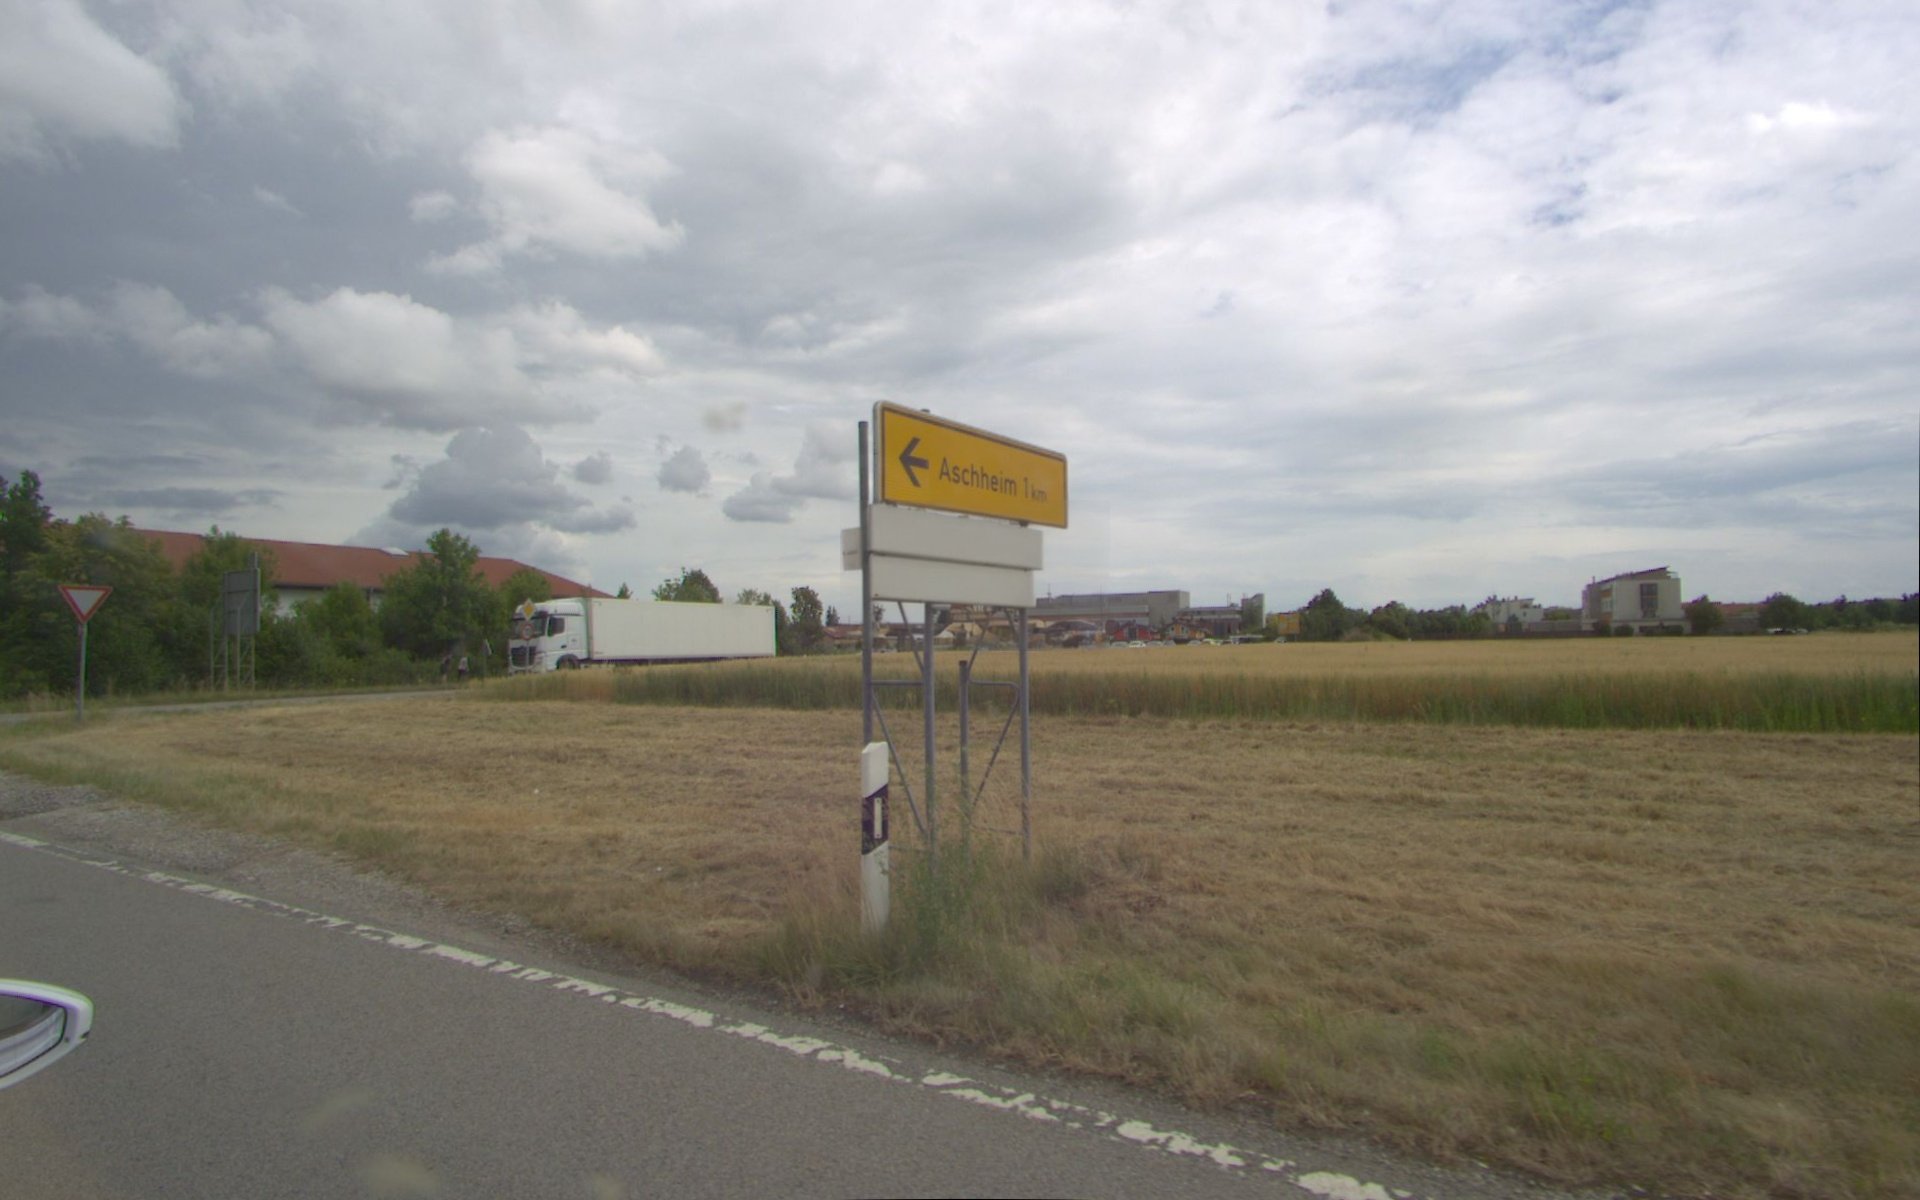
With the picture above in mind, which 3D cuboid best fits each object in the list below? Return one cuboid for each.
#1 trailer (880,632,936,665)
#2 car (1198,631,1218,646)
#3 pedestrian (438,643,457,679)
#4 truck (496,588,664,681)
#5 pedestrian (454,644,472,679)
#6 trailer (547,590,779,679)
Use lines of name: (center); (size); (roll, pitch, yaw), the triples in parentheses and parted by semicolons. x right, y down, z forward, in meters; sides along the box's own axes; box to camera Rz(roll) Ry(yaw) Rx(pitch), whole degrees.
trailer: (-3.864, 3.625, 75.045); (2.379, 2.321, 4.382); (-3, -3, 26)
car: (33.492, 5.163, 135.142); (1.967, 1.915, 3.988); (-1, -1, 24)
pedestrian: (-25.295, 3.002, 49.434); (0.521, 1.704, 0.626); (0, -1, 23)
truck: (-18.037, 1.706, 48.048); (3.081, 4.064, 7.281); (-3, -3, 28)
pedestrian: (-24.355, 2.999, 49.090); (0.521, 1.704, 0.626); (0, -1, 23)
trailer: (-15.239, 1.892, 53.430); (3.081, 4.063, 13.837); (-3, -3, 28)
